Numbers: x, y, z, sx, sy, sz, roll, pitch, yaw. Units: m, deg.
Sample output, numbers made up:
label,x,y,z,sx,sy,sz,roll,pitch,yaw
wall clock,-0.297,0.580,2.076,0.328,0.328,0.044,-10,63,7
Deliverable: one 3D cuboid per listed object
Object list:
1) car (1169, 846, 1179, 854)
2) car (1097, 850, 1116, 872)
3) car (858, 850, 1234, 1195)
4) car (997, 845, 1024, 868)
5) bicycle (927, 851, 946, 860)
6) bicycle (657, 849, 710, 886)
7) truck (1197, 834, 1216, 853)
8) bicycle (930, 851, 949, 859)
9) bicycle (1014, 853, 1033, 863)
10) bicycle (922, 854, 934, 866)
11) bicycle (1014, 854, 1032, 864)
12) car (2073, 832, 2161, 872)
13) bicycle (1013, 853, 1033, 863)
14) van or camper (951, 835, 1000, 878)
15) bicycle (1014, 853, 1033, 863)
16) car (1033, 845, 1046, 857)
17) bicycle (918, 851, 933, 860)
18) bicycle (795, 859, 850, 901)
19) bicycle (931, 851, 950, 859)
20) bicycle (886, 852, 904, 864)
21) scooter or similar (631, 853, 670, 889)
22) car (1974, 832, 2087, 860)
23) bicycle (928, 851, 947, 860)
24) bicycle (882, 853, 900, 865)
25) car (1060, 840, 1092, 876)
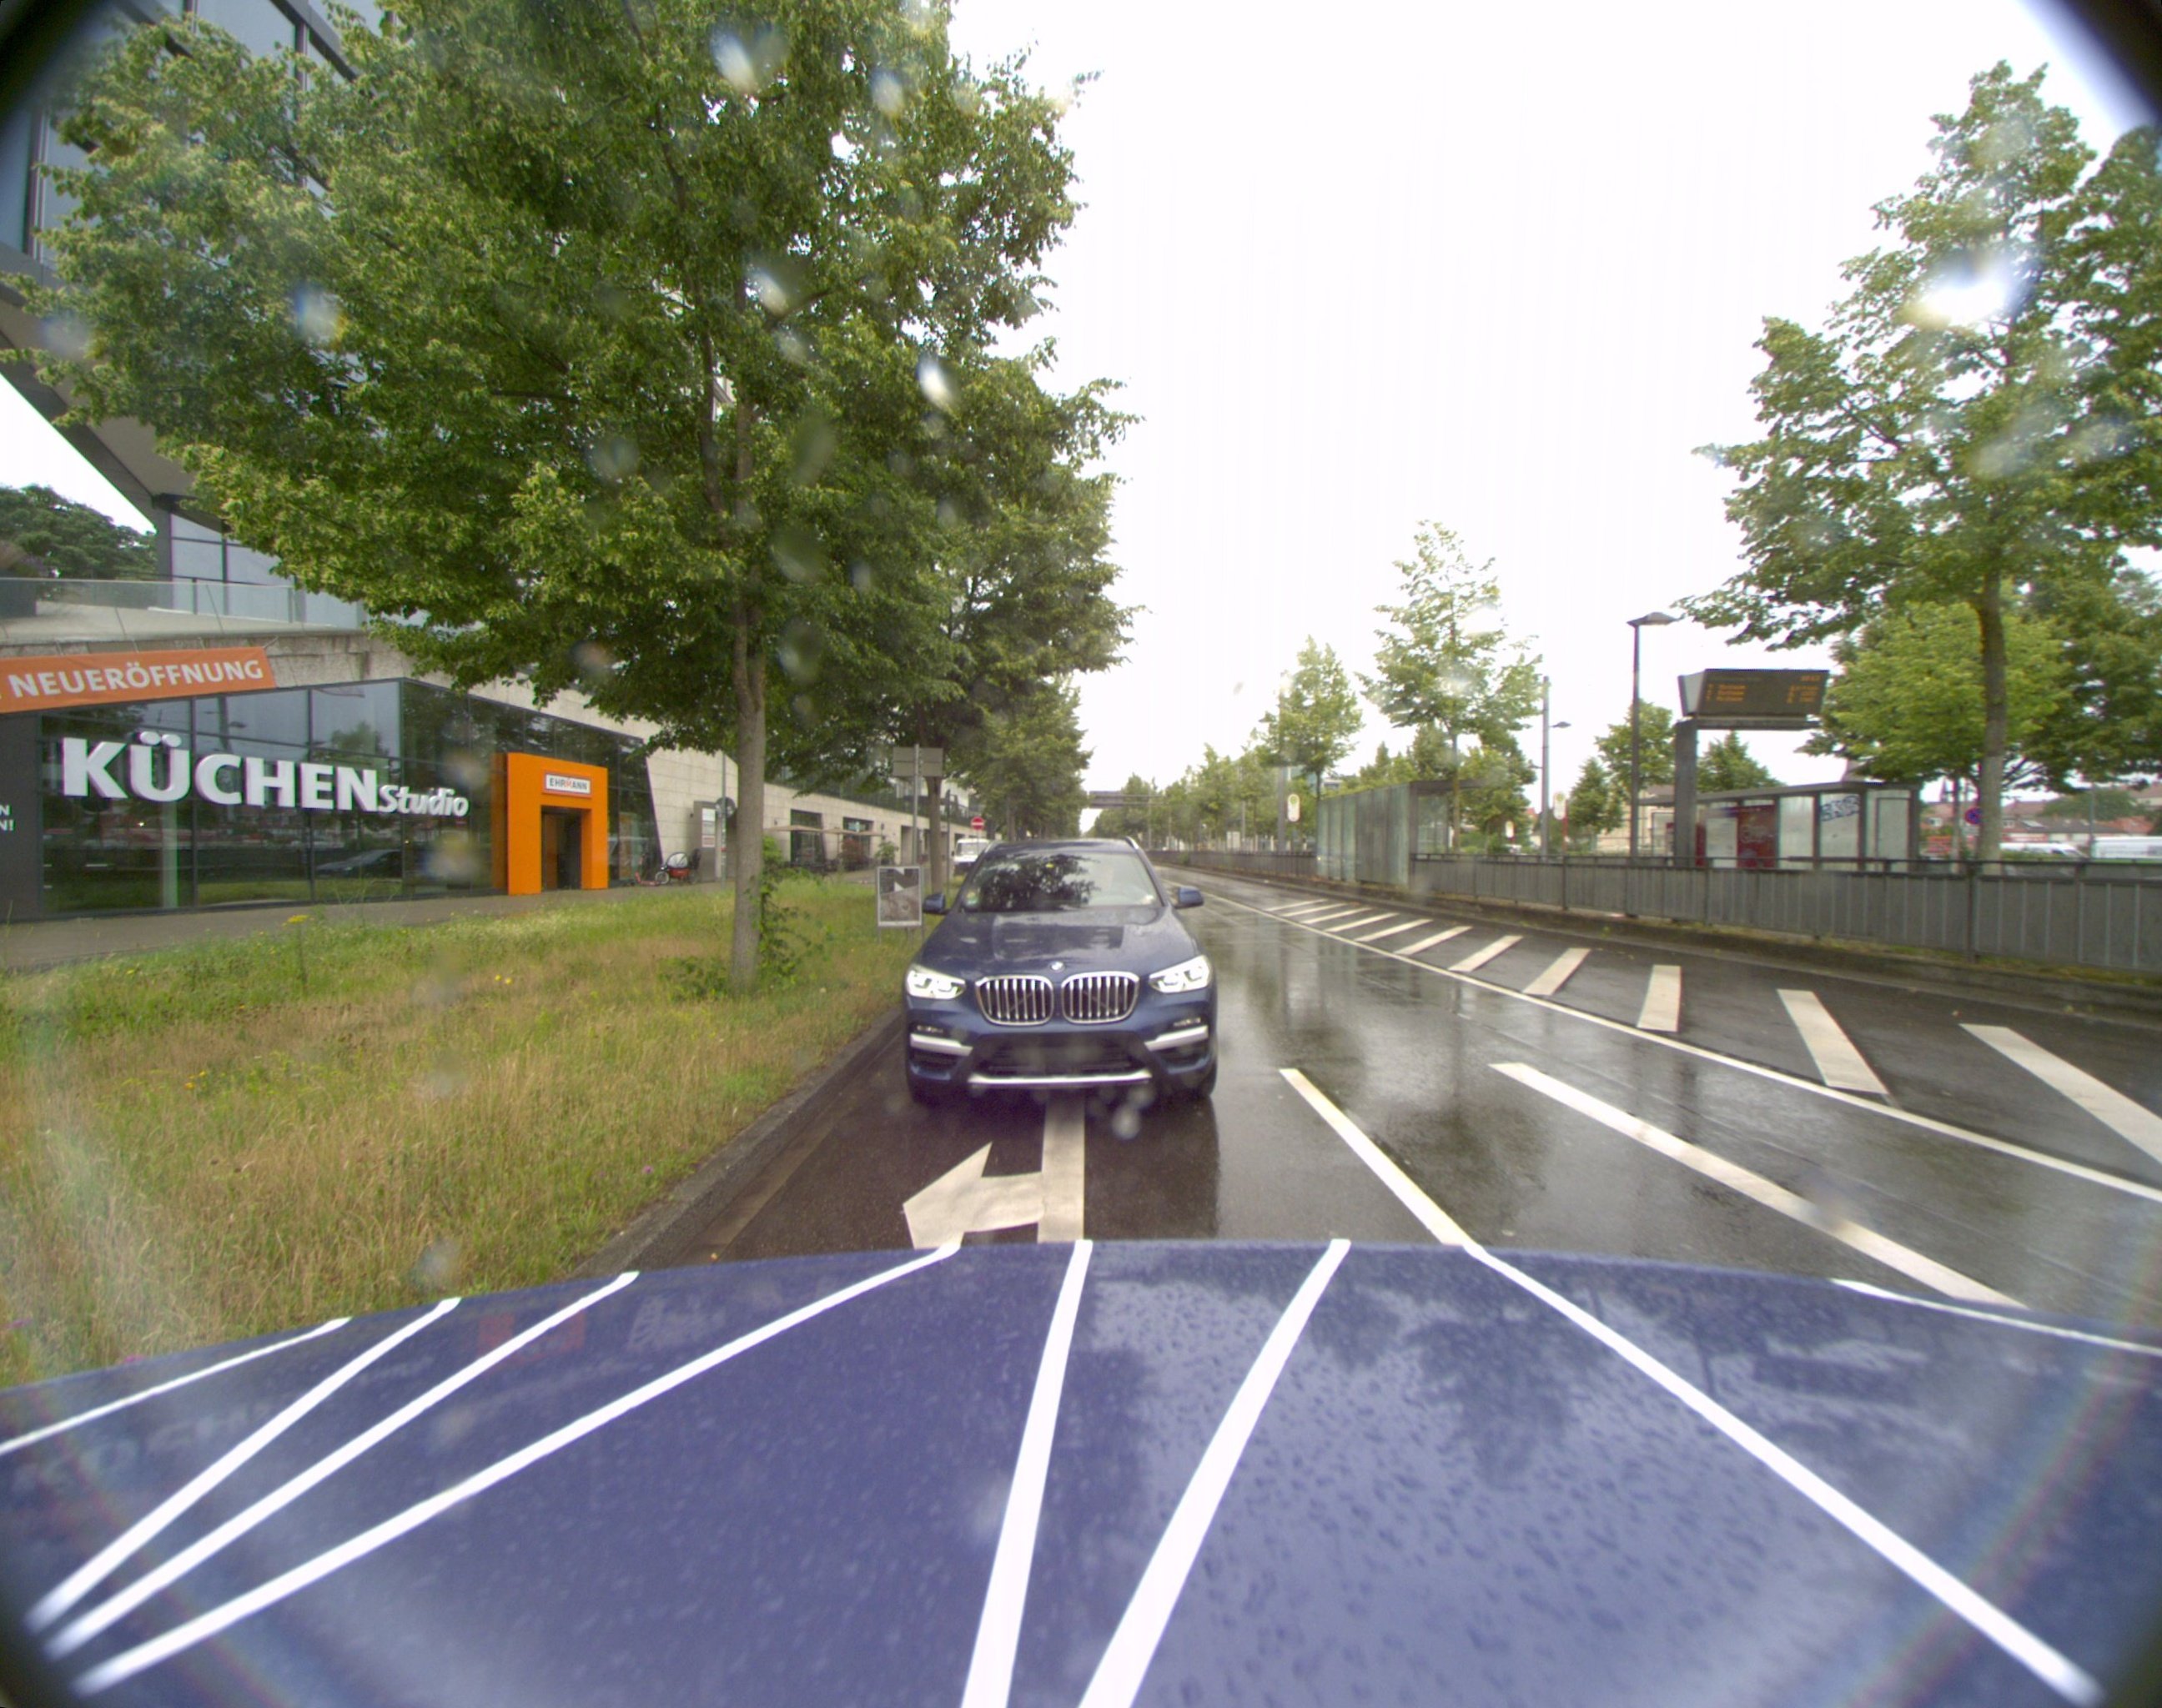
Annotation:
label,x,y,z,sx,sy,sz,roll,pitch,yaw
car,22.908,-0.897,187.599,1.762,2.002,3.998,0,1,-3
car,2.786,0.792,83.830,1.998,2.232,3.999,-2,1,1
car,-0.142,0.839,5.791,1.816,1.603,3.999,-2,1,1
car,-5.751,0.152,62.235,1.746,1.749,4.847,-1,1,0
bicycle,-15.848,0.132,83.546,2.029,0.940,0.395,1,1,-4
bicycle,-15.415,0.502,29.536,0.734,1.394,2.425,1,0,1
truck,25.827,-2.263,157.008,2.693,3.756,9.182,-2,1,3
bicycle,-15.938,0.098,85.417,2.029,0.940,0.395,1,1,-4
bicycle,-5.711,0.412,75.495,1.882,0.940,0.395,-2,2,-4
bicycle,-12.967,0.495,64.515,0.402,0.940,1.859,-1,1,8
bicycle,-5.629,0.461,73.658,1.649,0.940,0.395,-2,2,-4
car,70.108,-0.154,49.485,1.999,2.448,6.744,-2,1,-4
bicycle,-5.797,0.404,75.982,2.007,0.940,0.395,-2,2,-4
van or camper,-5.918,0.093,43.401,2.030,2.279,5.458,-1,1,0
bicycle,-5.677,0.422,75.011,1.862,0.940,0.395,-2,2,-4
car,-6.033,-0.469,111.520,1.659,1.711,3.999,-2,1,0
bicycle,-16.304,0.186,79.684,1.657,0.940,0.347,1,2,19
bicycle,-8.608,0.858,25.285,1.843,1.338,0.533,-1,0,26
bicycle,-15.997,0.088,86.665,2.029,0.940,0.395,1,1,-4
bicycle,-15.178,0.367,62.001,0.396,0.940,2.024,-4,2,-45
scooter or similar,-15.658,0.604,27.659,0.342,1.221,1.242,-2,2,19
car,84.246,-0.752,67.578,2.000,2.293,6.138,-3,1,-9
bicycle,-15.914,0.124,84.243,2.029,0.940,0.395,1,1,-4
bicycle,-15.352,0.387,61.308,0.396,0.940,2.024,-4,2,-45
car,-0.303,0.237,50.647,1.998,2.232,3.999,-2,1,1
